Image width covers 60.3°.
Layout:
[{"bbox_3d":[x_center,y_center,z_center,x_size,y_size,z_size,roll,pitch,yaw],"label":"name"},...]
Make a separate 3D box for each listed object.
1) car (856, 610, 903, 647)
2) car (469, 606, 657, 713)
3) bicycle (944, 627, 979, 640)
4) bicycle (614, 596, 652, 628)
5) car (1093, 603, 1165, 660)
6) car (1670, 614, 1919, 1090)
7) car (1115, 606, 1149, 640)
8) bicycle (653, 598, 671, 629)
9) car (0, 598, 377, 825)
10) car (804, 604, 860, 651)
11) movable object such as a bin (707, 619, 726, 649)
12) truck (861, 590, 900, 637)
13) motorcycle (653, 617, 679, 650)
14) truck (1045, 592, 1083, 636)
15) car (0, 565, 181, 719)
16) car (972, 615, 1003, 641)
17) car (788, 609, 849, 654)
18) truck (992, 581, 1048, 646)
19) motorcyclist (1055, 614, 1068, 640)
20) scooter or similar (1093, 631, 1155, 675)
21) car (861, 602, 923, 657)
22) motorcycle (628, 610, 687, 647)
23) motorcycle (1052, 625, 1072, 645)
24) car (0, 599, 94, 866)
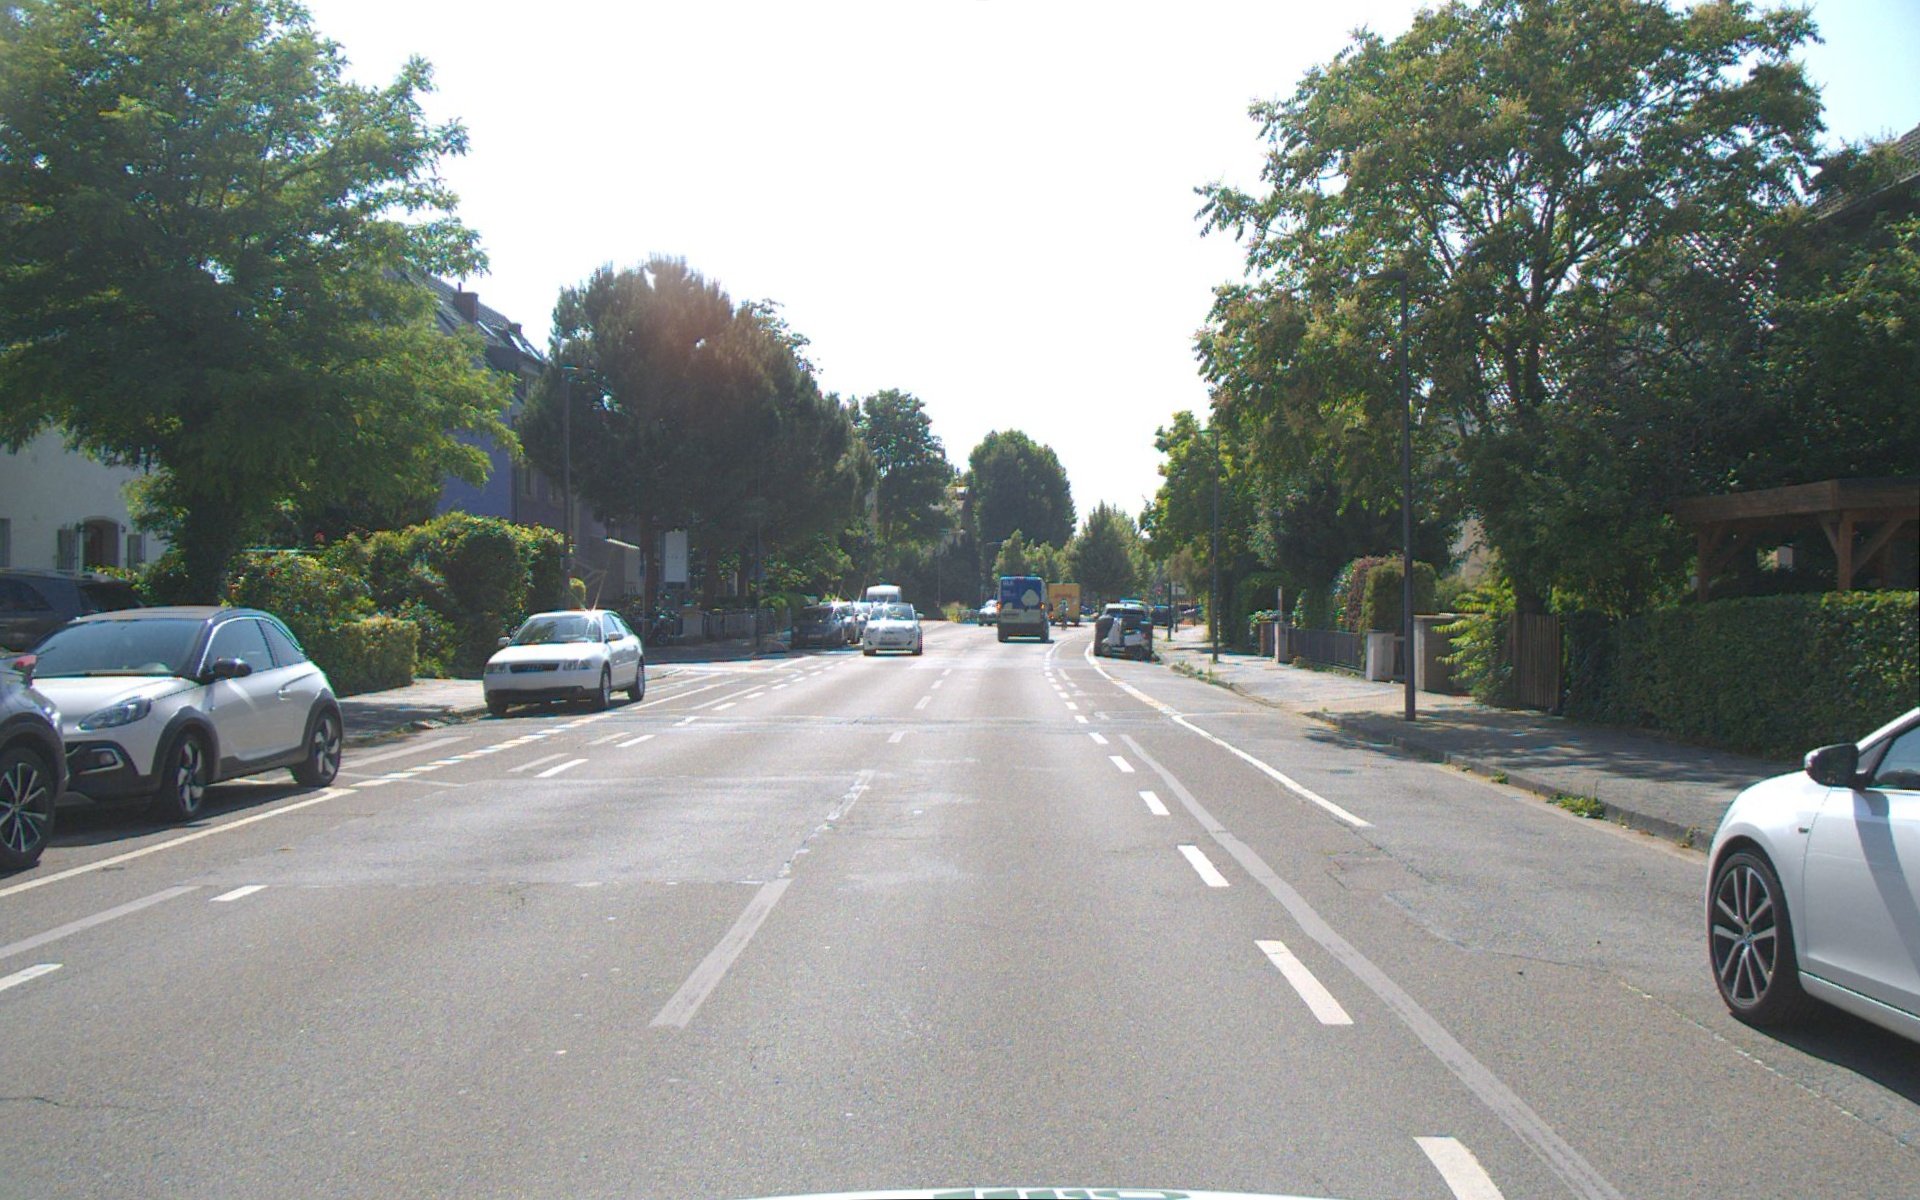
[{"bbox_3d":[-3.671,1.320,76.056,1.796,1.623,3.776,0,-1,3],"label":"car"},{"bbox_3d":[-5.860,0.834,24.884,1.748,1.465,4.001,0,0,2],"label":"car"},{"bbox_3d":[0.105,2.651,130.938,2.636,1.066,1.024,1,-1,-7],"label":"bicycle"},{"bbox_3d":[-12.792,0.465,64.712,0.529,1.202,1.437,1,1,42],"label":"bicycle"},{"bbox_3d":[5.439,1.015,52.731,1.747,1.667,4.473,2,-1,12],"label":"car"},{"bbox_3d":[3.764,0.796,4.724,1.704,1.427,4.073,2,0,0],"label":"car"},{"bbox_3d":[9.014,1.220,87.038,1.664,1.706,3.776,0,-1,4],"label":"car"},{"bbox_3d":[-11.865,0.545,65.809,0.528,1.202,1.438,1,-1,-18],"label":"bicycle"},{"bbox_3d":[-6.172,0.763,12.857,1.748,1.465,4.001,-1,-1,2],"label":"car"},{"bbox_3d":[-4.993,1.055,65.090,1.870,1.706,4.258,-1,0,-1],"label":"car"},{"bbox_3d":[-9.089,1.272,61.761,0.532,1.131,0.585,0,-1,7],"label":"movable object such as a bin"},{"bbox_3d":[-4.481,0.783,93.942,2.038,2.582,5.465,0,-1,-1],"label":"truck"},{"bbox_3d":[-10.716,1.218,60.356,0.525,1.202,1.447,0,-1,7],"label":"motorcycle"},{"bbox_3d":[7.276,1.000,114.968,2.167,2.998,5.690,0,-1,8],"label":"truck"},{"bbox_3d":[-12.056,0.484,20.396,3.904,1.790,2.000,1,-1,2],"label":"car"},{"bbox_3d":[1.887,1.880,111.969,1.952,1.686,4.605,0,-1,2],"label":"car"},{"bbox_3d":[-5.015,1.112,59.135,1.744,1.485,4.086,-3,-1,0],"label":"car"},{"bbox_3d":[2.554,0.591,69.535,2.225,2.616,4.393,0,-1,3],"label":"truck"},{"bbox_3d":[5.895,1.565,96.057,0.658,1.545,0.652,0,-1,0],"label":"motorcyclist"},{"bbox_3d":[4.935,1.597,49.834,0.714,1.174,1.769,5,-1,-44],"label":"scooter or similar"},{"bbox_3d":[-2.019,0.887,49.993,1.696,1.568,3.999,-1,-1,0],"label":"car"},{"bbox_3d":[-9.996,0.952,54.650,1.800,1.202,0.643,0,-1,6],"label":"motorcycle"},{"bbox_3d":[5.936,2.041,96.153,1.034,1.142,2.992,0,-1,2],"label":"motorcycle"},{"bbox_3d":[-6.196,0.722,7.971,1.748,1.465,4.111,-1,-1,2],"label":"car"}]
